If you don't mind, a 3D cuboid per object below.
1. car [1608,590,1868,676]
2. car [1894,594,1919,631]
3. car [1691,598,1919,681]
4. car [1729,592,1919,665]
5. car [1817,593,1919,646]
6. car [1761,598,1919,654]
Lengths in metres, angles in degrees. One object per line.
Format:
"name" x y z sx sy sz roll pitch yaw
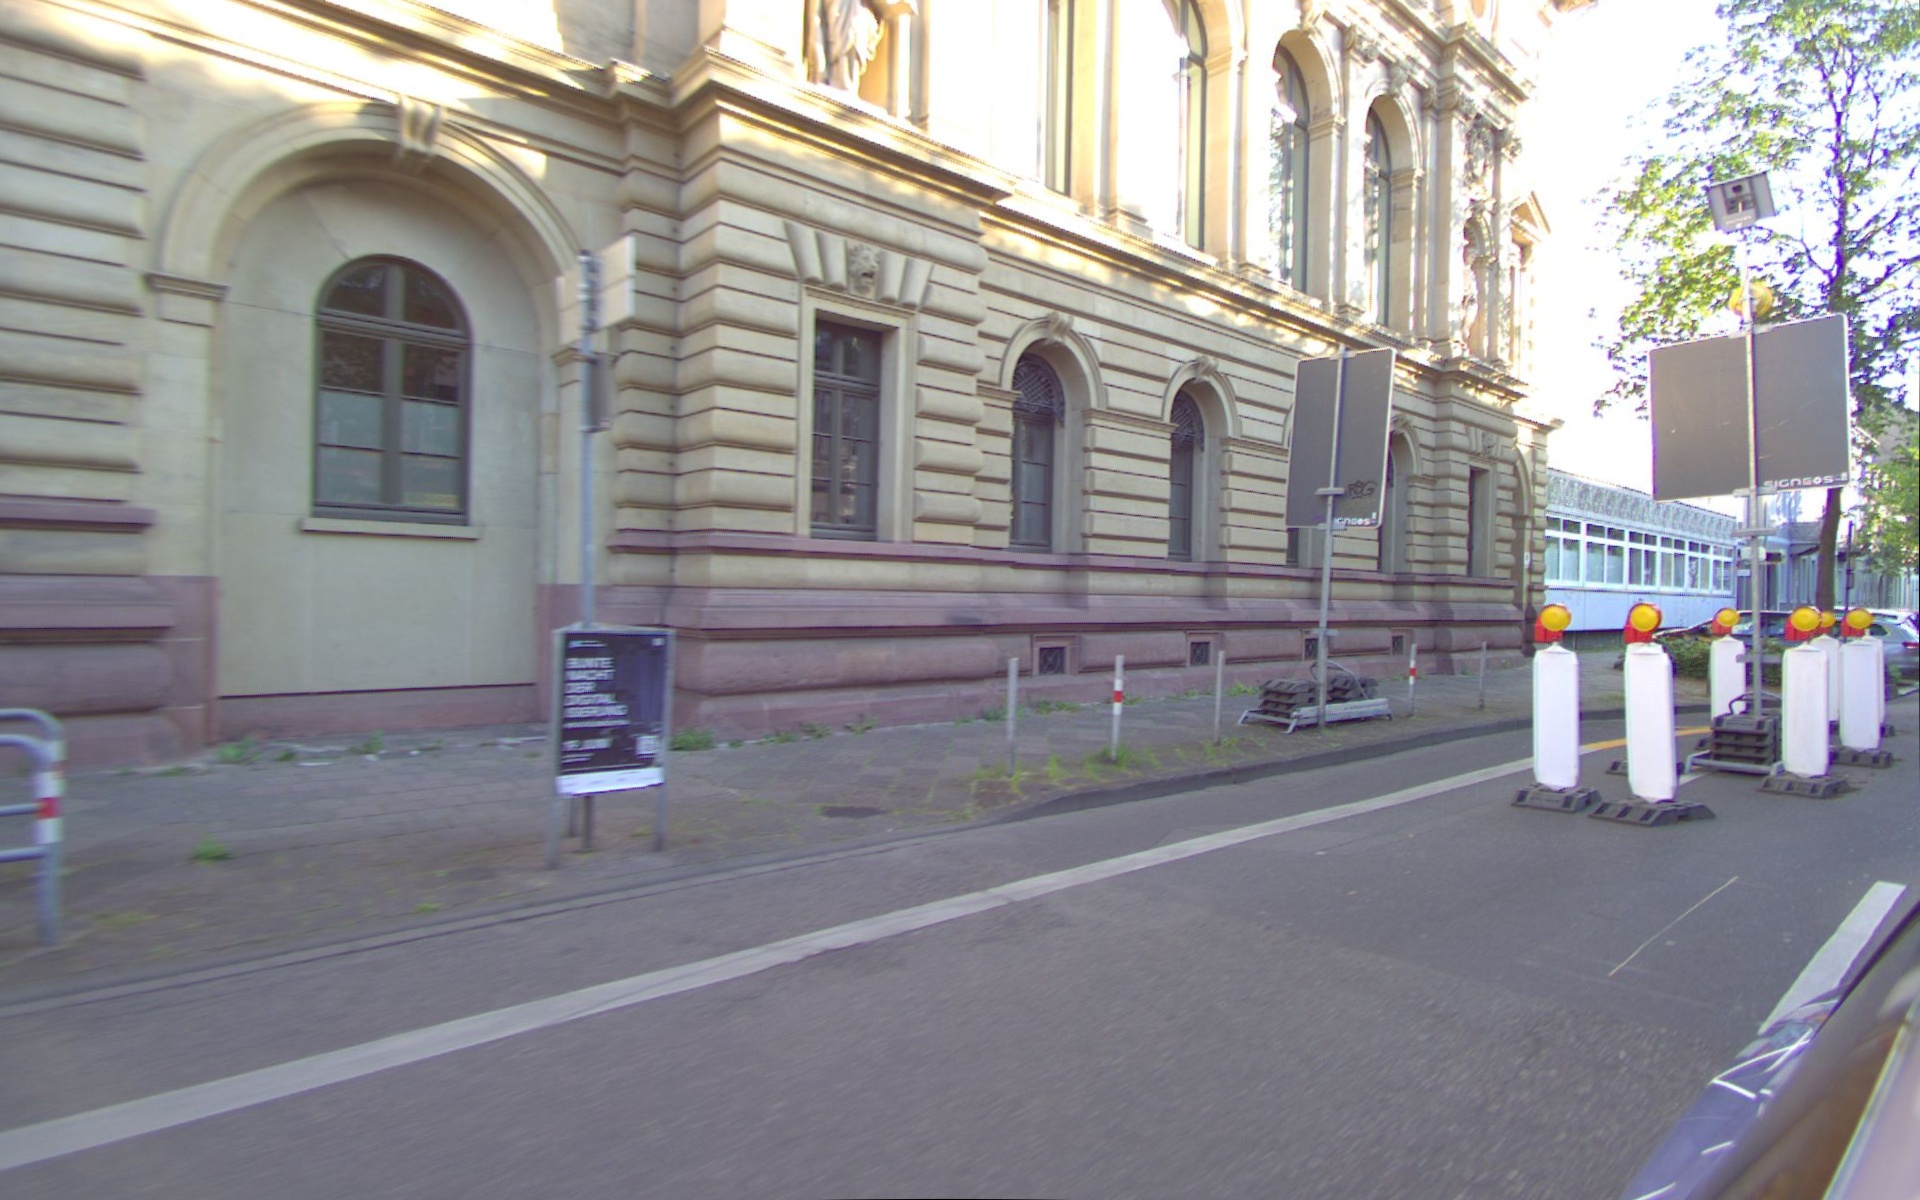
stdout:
"car" 17.249 0.649 22.598 1.804 1.482 4.361 0 4 -44
"car" 49.280 0.692 50.057 1.704 1.800 4.363 0 3 -43
"car" 19.863 0.850 23.510 1.643 1.513 4.367 0 3 -41
"car" 24.298 0.746 28.101 2.020 1.662 4.364 0 3 -43
"car" 32.589 0.704 34.922 1.704 1.644 4.363 0 3 -43
"car" 28.426 0.799 32.212 1.855 1.512 4.363 0 2 -43
